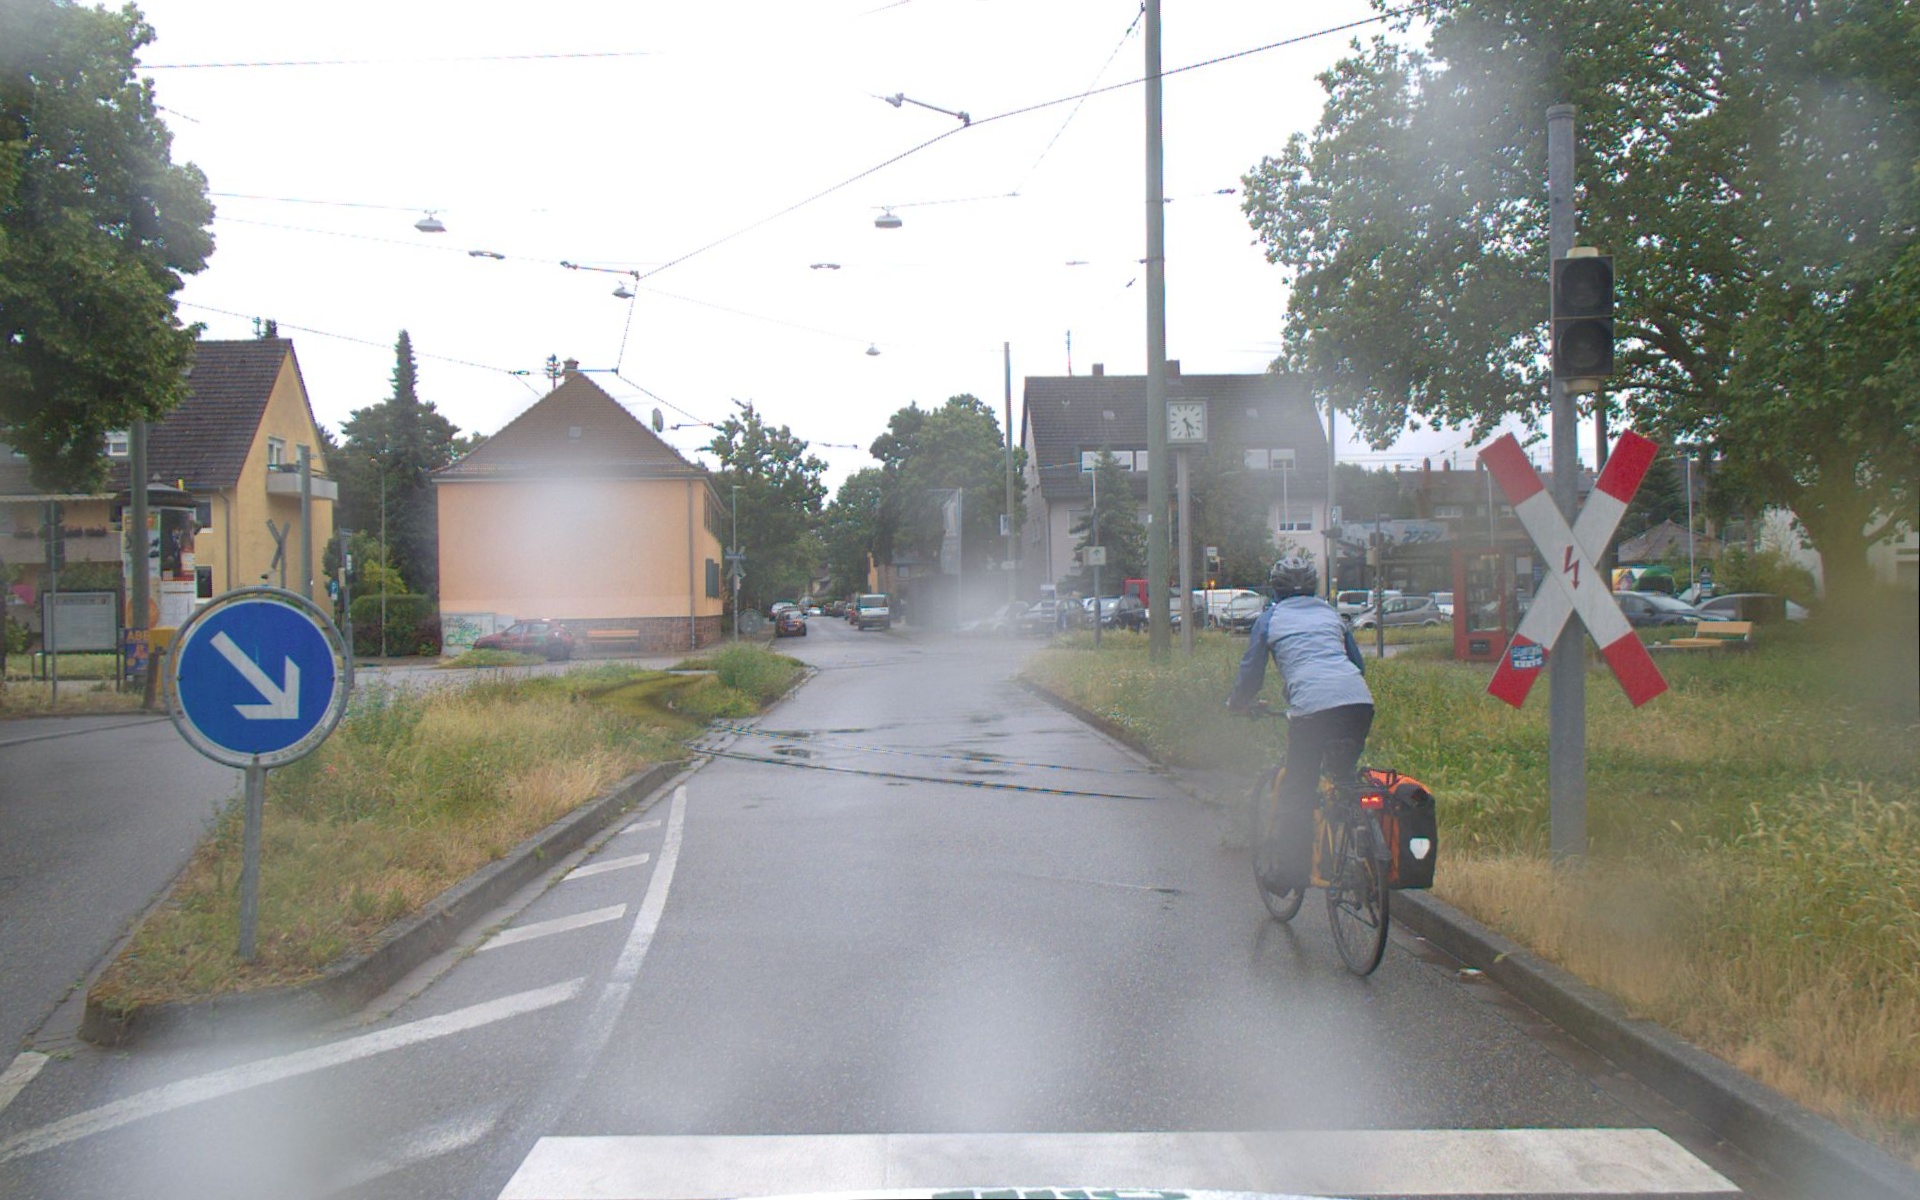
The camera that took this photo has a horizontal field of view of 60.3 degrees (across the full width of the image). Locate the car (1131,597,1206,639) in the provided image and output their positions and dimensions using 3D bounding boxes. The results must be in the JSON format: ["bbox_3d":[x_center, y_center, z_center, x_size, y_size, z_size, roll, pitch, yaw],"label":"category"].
[{"bbox_3d":[8.633,0.748,68.175,1.954,1.669,3.997,0,-1,25],"label":"car"}]

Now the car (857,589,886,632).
[{"bbox_3d":[-5.666,0.681,105.702,1.768,2.673,3.998,1,-1,-3],"label":"car"}]

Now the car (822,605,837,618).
[{"bbox_3d":[-16.448,1.457,208.776,1.768,1.591,3.998,1,-1,-3],"label":"car"}]

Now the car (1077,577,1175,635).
[{"bbox_3d":[7.797,0.279,77.619,4.301,2.611,2.001,1,-1,14],"label":"car"}]

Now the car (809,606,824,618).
[{"bbox_3d":[-19.591,1.655,225.920,1.768,1.486,3.998,1,-1,-3],"label":"car"}]

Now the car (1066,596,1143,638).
[{"bbox_3d":[6.093,0.724,69.315,1.954,1.669,3.997,0,-1,25],"label":"car"}]

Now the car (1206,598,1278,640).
[{"bbox_3d":[11.687,0.796,68.429,1.954,1.669,3.997,0,-1,25],"label":"car"}]

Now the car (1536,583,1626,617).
[{"bbox_3d":[31.404,0.002,83.695,3.905,1.669,1.846,1,-1,0],"label":"car"}]

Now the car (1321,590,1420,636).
[{"bbox_3d":[18.400,0.575,74.209,3.907,1.985,1.999,1,-1,-3],"label":"car"}]

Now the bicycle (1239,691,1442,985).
[{"bbox_3d":[1.613,0.965,7.238,0.437,1.022,1.727,-1,0,-2],"label":"bicycle"}]

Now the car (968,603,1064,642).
[{"bbox_3d":[2.532,1.034,74.605,3.955,1.705,1.975,1,-1,-36],"label":"car"}]

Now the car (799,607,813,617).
[{"bbox_3d":[-21.481,1.686,231.155,1.768,1.486,3.998,1,-1,-3],"label":"car"}]

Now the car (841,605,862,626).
[{"bbox_3d":[-9.519,1.349,145.014,1.768,1.843,3.998,1,-1,-3],"label":"car"}]

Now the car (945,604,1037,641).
[{"bbox_3d":[1.445,1.052,77.661,3.955,1.672,1.975,1,-1,-36],"label":"car"}]

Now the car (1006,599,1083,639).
[{"bbox_3d":[3.632,0.814,70.531,1.954,1.669,3.997,0,-1,25],"label":"car"}]

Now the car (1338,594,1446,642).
[{"bbox_3d":[16.421,0.689,63.015,3.609,1.731,1.890,1,-1,0],"label":"car"}]

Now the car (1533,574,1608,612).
[{"bbox_3d":[34.612,-0.383,93.908,1.963,2.049,3.979,1,-1,-18],"label":"car"}]

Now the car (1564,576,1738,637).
[{"bbox_3d":[18.028,0.172,43.241,3.848,1.522,1.798,0,-1,44],"label":"car"}]

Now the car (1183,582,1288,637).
[{"bbox_3d":[12.323,0.428,74.103,4.307,2.366,1.999,1,-1,-3],"label":"car"}]

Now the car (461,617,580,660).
[{"bbox_3d":[-15.925,1.391,60.118,3.911,1.482,1.831,1,-1,-7],"label":"car"}]

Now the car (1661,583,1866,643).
[{"bbox_3d":[18.650,0.312,38.527,3.902,1.308,1.847,1,-1,6],"label":"car"}]

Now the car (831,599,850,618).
[{"bbox_3d":[-11.703,0.879,162.226,1.768,1.843,3.998,1,-1,-3],"label":"car"}]

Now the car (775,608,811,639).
[{"bbox_3d":[-9.419,1.320,93.309,1.768,1.680,3.998,1,-1,-3],"label":"car"}]

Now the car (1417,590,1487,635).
[{"bbox_3d":[20.859,0.545,70.253,1.952,1.822,4.001,1,-1,3],"label":"car"}]

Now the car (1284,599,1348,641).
[{"bbox_3d":[14.850,0.846,68.856,1.804,1.669,3.997,0,-1,25],"label":"car"}]

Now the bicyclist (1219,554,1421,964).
[{"bbox_3d":[1.531,0.648,7.138,0.653,1.654,0.852,1,-1,-2],"label":"bicyclist"}]

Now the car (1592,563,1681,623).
[{"bbox_3d":[29.257,-0.260,71.663,1.953,2.485,4.352,1,-1,-2],"label":"car"}]

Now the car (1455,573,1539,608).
[{"bbox_3d":[28.886,-0.515,89.122,3.904,1.822,2.000,1,-1,2],"label":"car"}]
